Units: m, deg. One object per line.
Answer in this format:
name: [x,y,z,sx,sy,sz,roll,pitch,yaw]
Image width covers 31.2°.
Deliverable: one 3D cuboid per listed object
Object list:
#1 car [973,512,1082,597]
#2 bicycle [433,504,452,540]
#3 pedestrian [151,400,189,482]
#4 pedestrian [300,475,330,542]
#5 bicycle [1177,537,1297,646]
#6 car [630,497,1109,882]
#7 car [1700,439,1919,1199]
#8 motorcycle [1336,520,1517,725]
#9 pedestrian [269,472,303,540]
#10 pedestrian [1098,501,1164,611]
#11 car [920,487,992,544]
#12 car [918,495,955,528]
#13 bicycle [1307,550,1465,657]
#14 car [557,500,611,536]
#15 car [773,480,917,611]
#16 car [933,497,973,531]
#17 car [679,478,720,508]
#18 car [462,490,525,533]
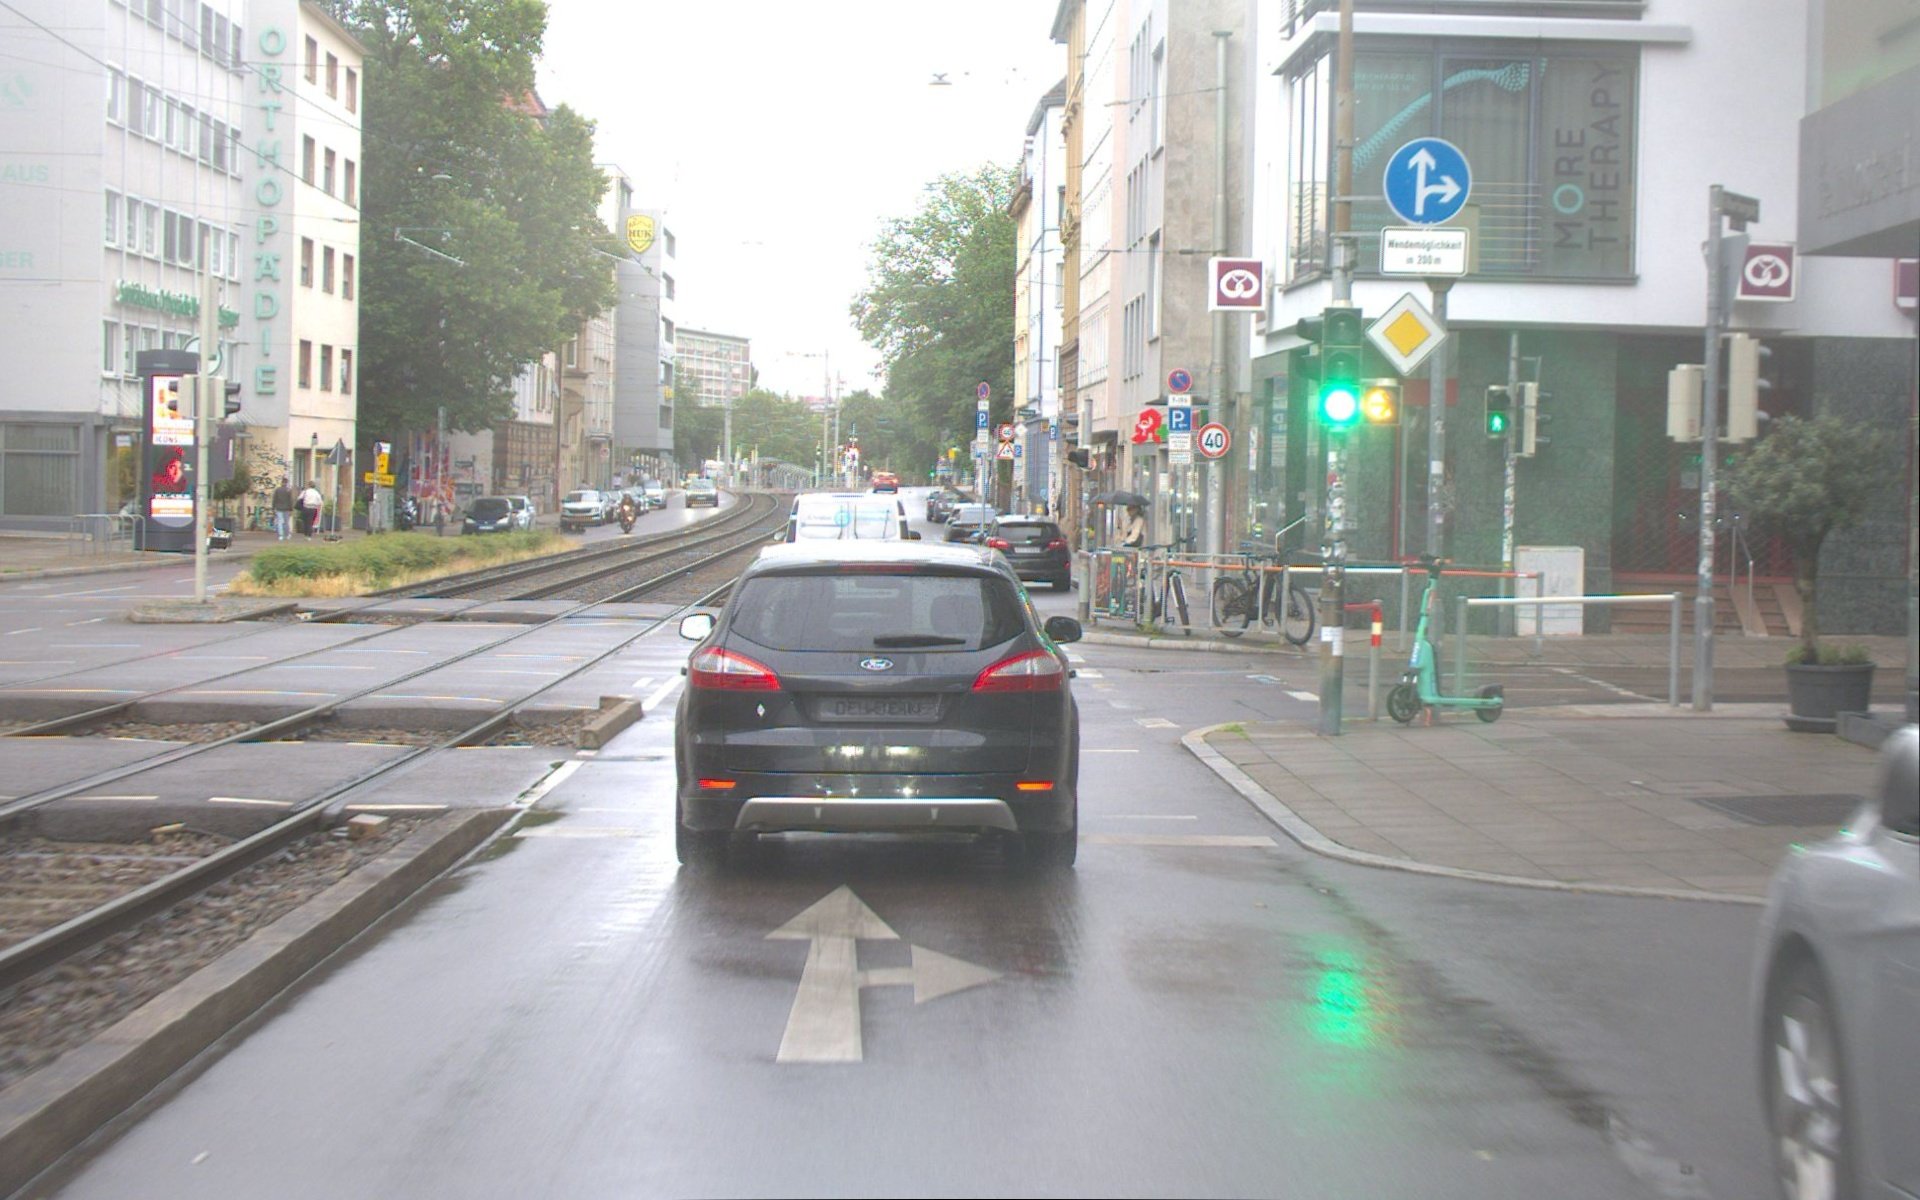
car: [1.289,-0.899,67.592,1.993,1.588,4.271,1,1,-1]
bicycle: [-17.808,-2.689,118.355,0.590,1.222,2.404,2,1,-8]
pedestrian: [-18.768,-3.771,81.657,0.727,1.889,0.689,2,1,-5]
pedestrian: [-18.400,-2.610,98.067,0.678,1.889,0.743,2,1,-1]
bicycle: [3.349,-0.112,41.724,0.497,1.254,1.957,1,1,-26]
car: [-0.405,0.345,16.602,1.993,1.588,4.271,1,1,-1]
car: [2.738,0.530,5.524,2.024,1.588,4.621,1,1,-1]
motorcycle: [3.410,0.155,25.115,1.129,1.456,0.684,0,1,-37]
pedestrian: [-19.233,-2.683,98.105,0.727,1.889,0.983,2,1,-1]
pedestrian: [2.475,-0.637,49.786,0.659,1.577,0.780,1,1,-23]
car: [-0.142,-2.416,99.070,1.993,1.588,4.572,1,1,-1]
car: [-1.135,-4.302,167.017,1.642,1.510,4.040,2,2,-2]
bicycle: [4.900,0.032,39.656,0.576,1.153,1.956,1,1,-37]
car: [-16.865,-3.682,154.462,1.993,1.514,4.436,2,2,-1]
car: [-1.649,-0.802,50.546,1.993,1.810,4.271,1,1,-1]
car: [-0.346,-4.051,162.245,1.738,1.484,4.001,2,2,-2]
car: [-14.981,-6.154,197.888,1.993,1.514,4.444,2,0,-1]
car: [-16.427,-3.120,121.198,1.744,1.463,4.220,0,2,-1]
